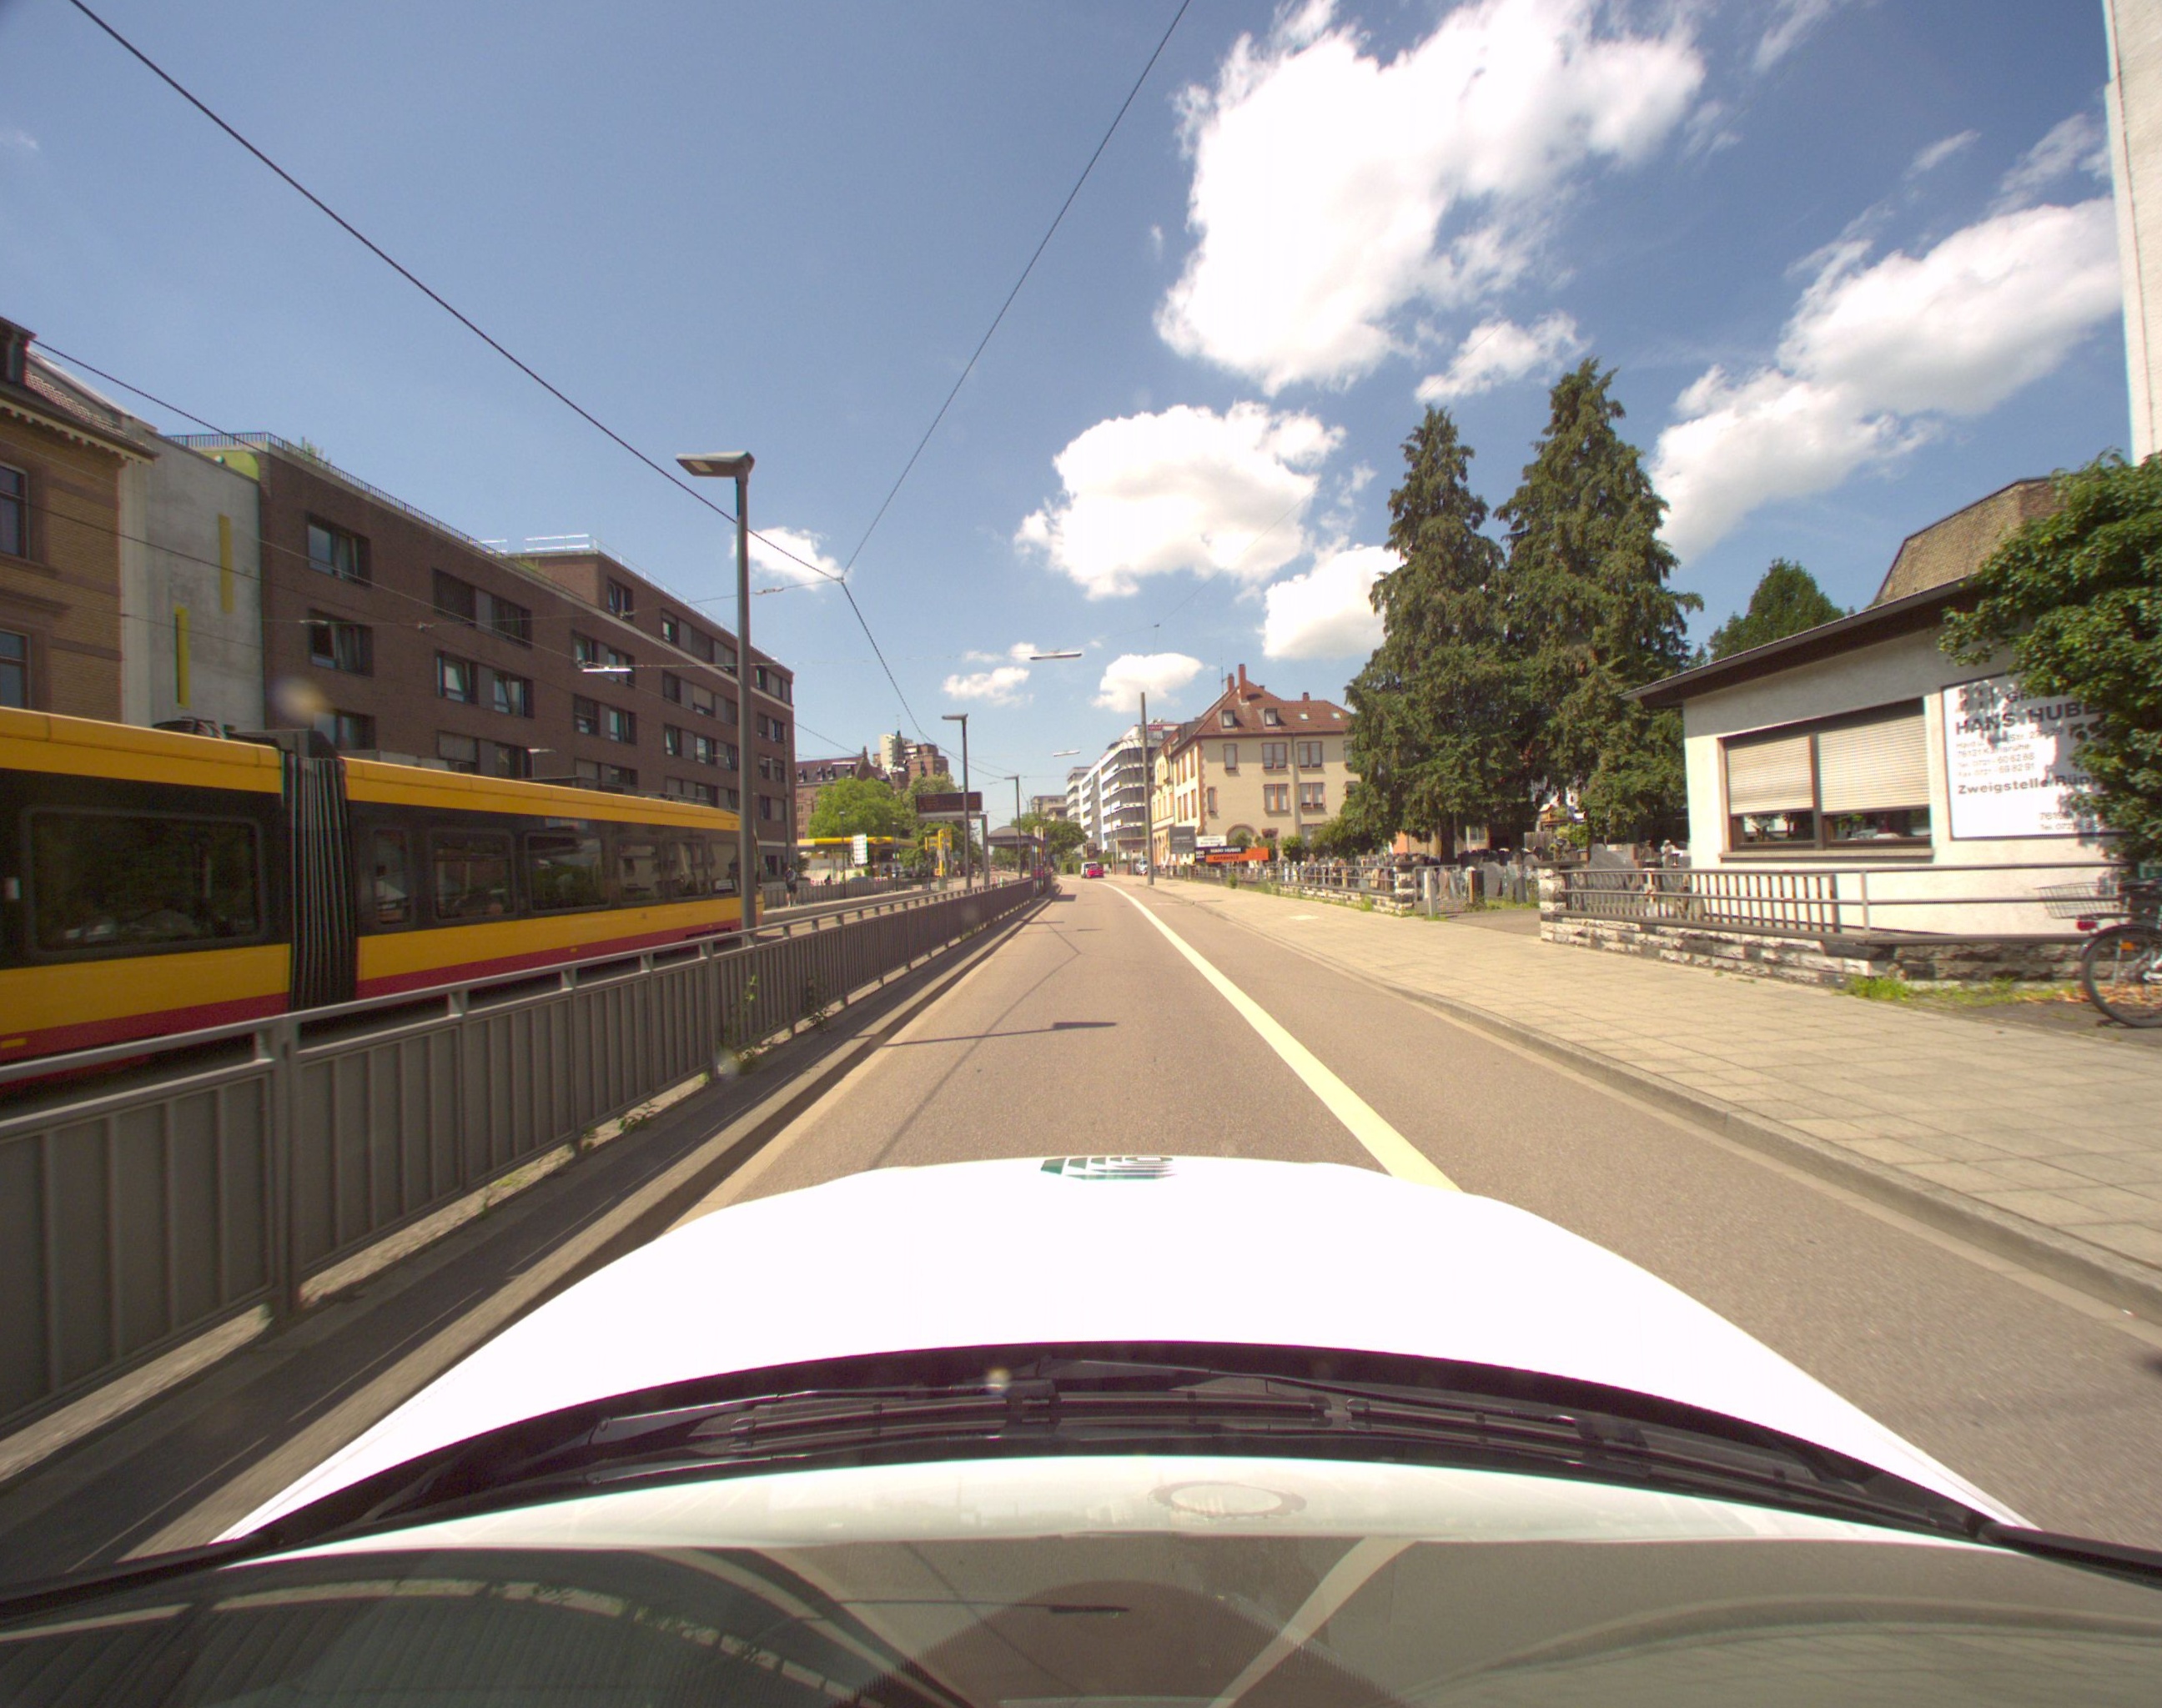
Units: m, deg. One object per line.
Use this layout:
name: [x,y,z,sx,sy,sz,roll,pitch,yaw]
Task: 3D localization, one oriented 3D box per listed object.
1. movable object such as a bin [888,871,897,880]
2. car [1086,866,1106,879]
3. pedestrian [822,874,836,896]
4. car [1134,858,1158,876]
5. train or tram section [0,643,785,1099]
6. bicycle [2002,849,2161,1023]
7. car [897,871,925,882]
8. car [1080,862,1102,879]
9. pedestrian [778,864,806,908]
movable object such as a bin: [-31.334,3.610,135.454,1.338,1.354,0.759,-2,-1,5]
car: [1.771,2.193,96.241,1.990,1.442,4.010,-2,-1,-5]
pedestrian: [-19.099,2.358,61.628,0.758,1.596,0.998,1,-1,-4]
car: [6.882,1.396,86.654,1.874,1.624,4.633,-5,-1,-4]
train or tram section: [-9.898,0.330,13.919,3.223,3.567,16.351,-3,-1,1]
bicycle: [7.385,0.527,5.544,1.524,1.086,0.430,-4,-1,7]
car: [-28.155,3.704,135.097,1.974,1.590,4.361,-3,-1,38]
car: [1.234,2.090,102.887,1.991,1.991,5.502,-4,-1,-6]
pedestrian: [-11.990,1.317,33.817,0.683,1.760,1.033,-3,-1,0]
